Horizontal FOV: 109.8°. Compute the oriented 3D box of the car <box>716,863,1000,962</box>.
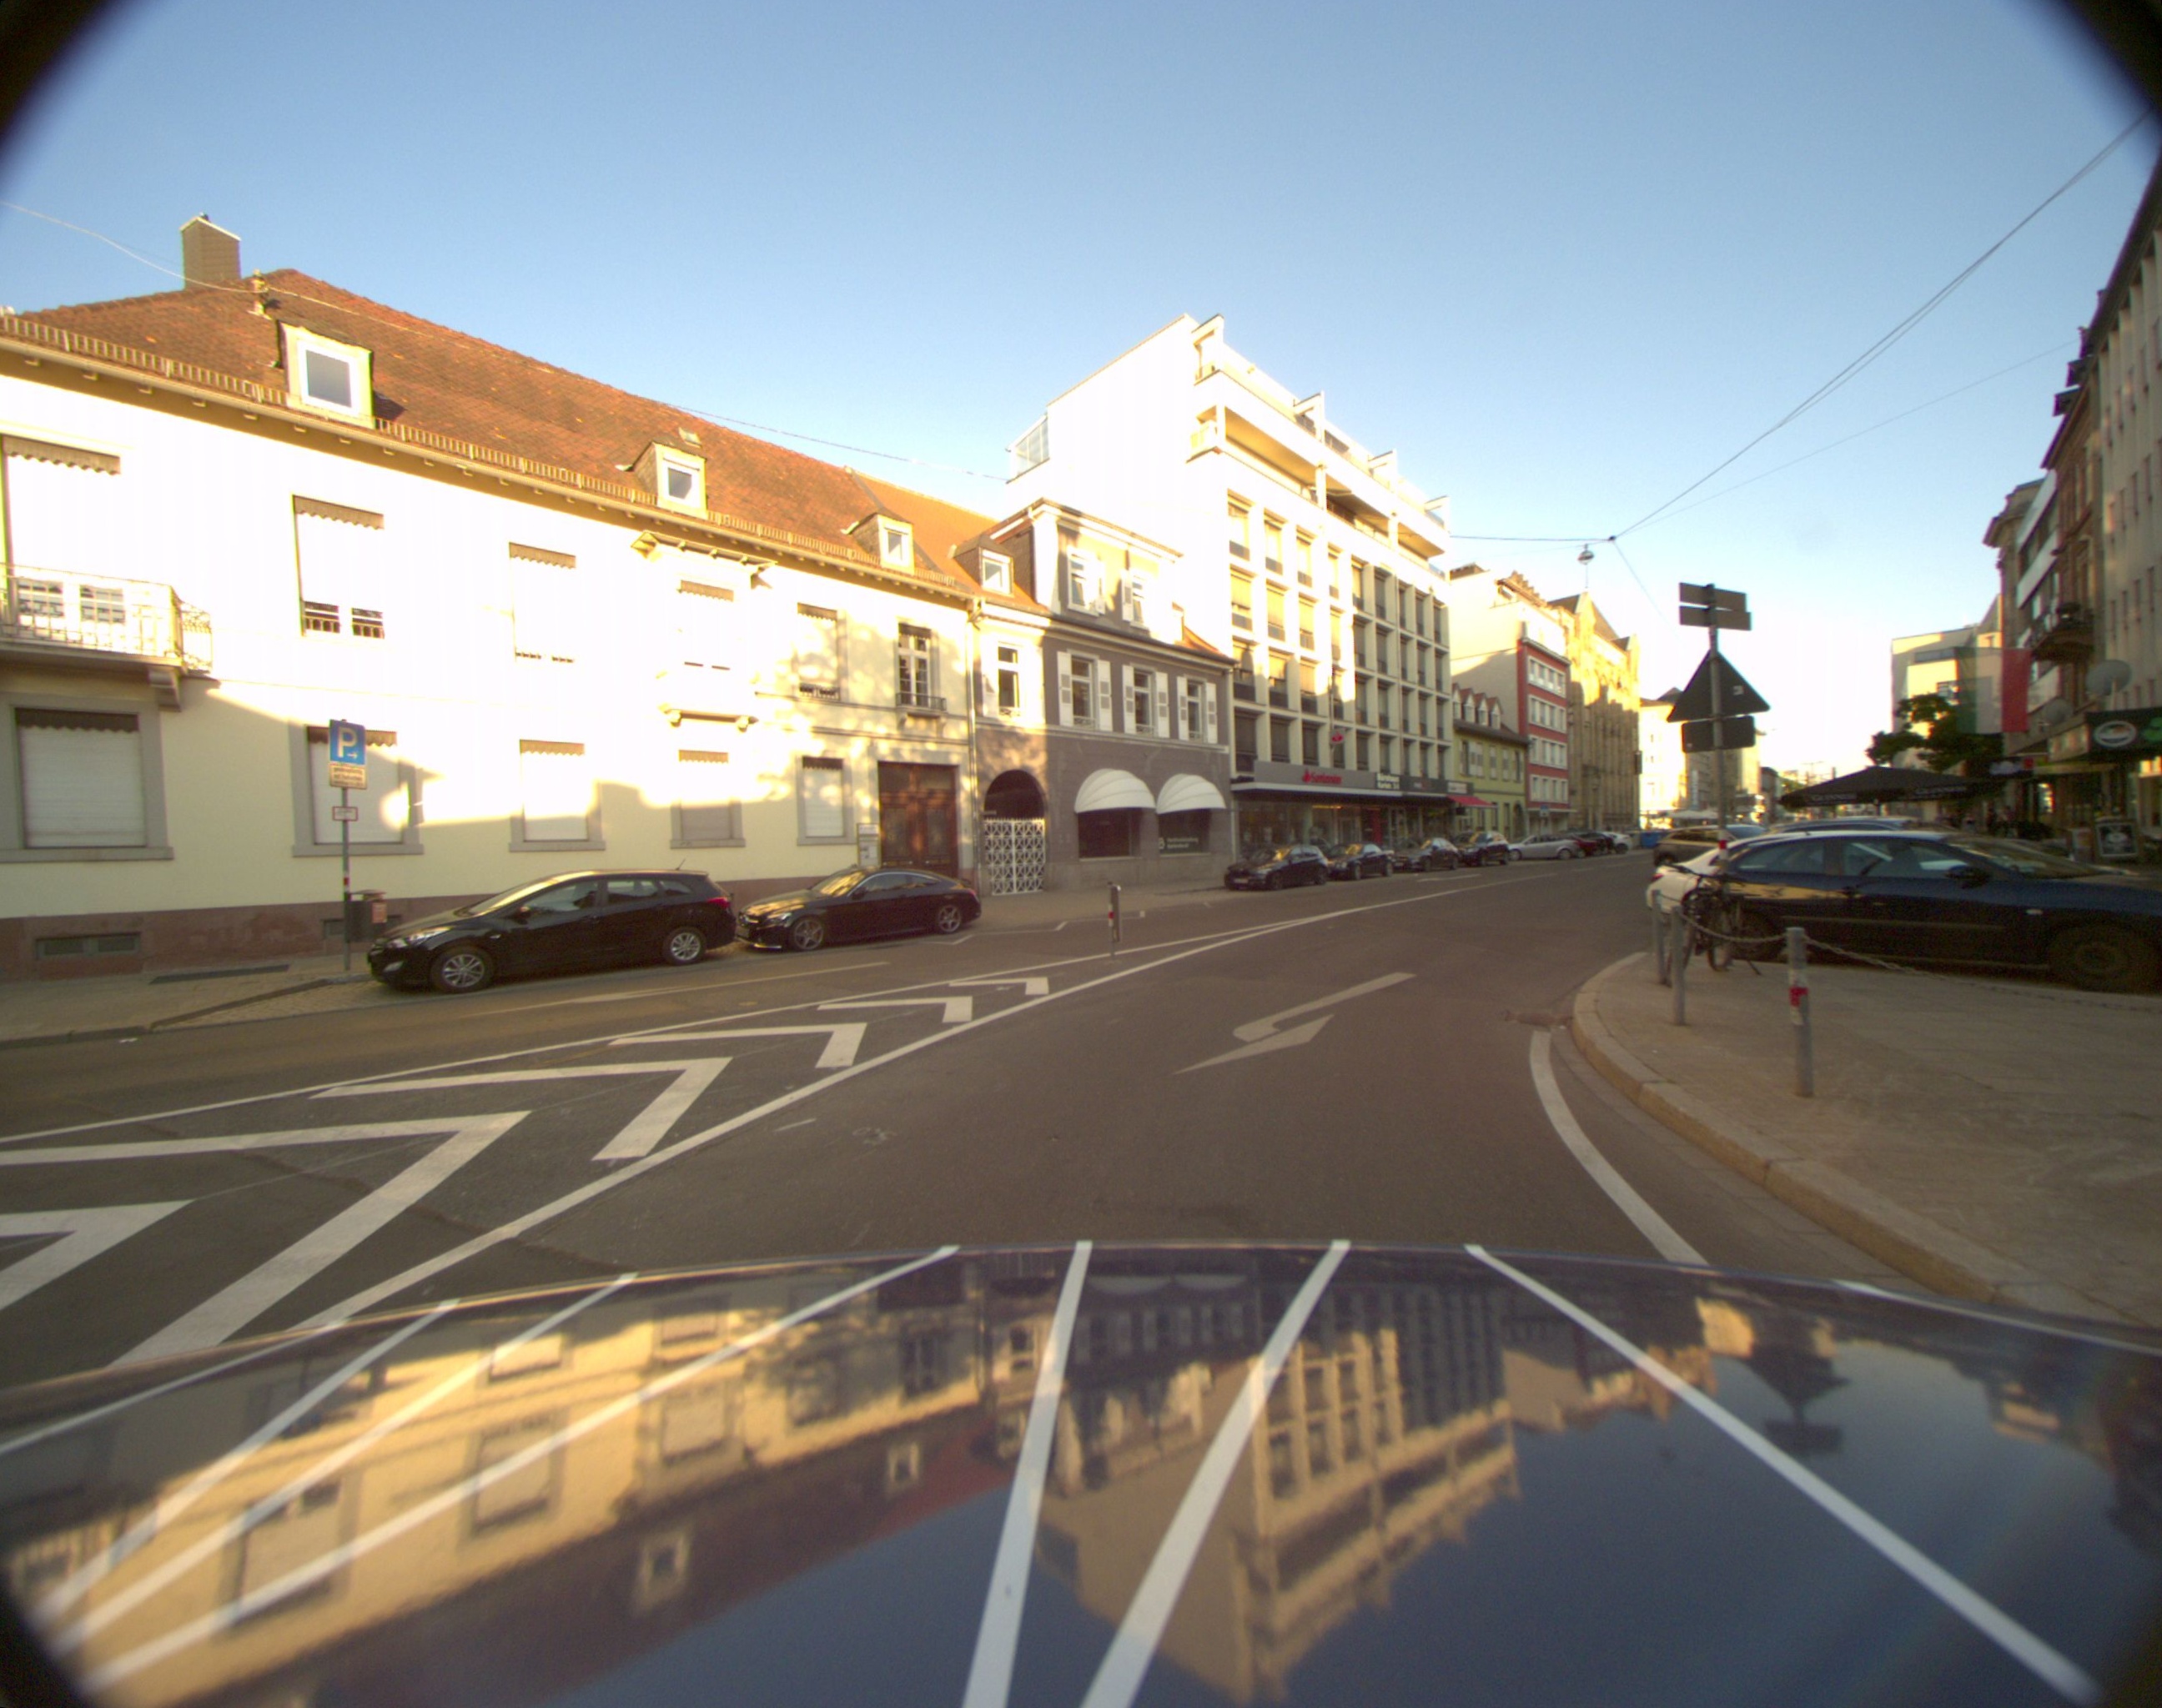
[{"bbox_3d":[-4.077,0.984,14.510,4.866,1.386,1.774,-3,1,-42],"label":"car"}]

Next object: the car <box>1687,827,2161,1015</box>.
[{"bbox_3d":[8.712,0.559,7.498,1.742,1.452,3.858,-3,-2,-20],"label":"car"}]

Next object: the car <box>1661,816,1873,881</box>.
[{"bbox_3d":[19.365,-0.098,21.678,1.855,1.619,4.045,-3,0,-23],"label":"car"}]

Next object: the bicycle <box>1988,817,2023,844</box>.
[{"bbox_3d":[40.712,-1.044,33.465,2.182,1.108,0.766,-3,1,-45],"label":"bicycle"}]

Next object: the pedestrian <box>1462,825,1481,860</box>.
[{"bbox_3d":[22.839,-0.669,44.447,0.761,2.055,0.720,-1,2,45],"label":"pedestrian"}]

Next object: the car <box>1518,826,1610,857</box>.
[{"bbox_3d":[28.437,-0.736,44.840,4.221,1.667,1.755,-2,1,12],"label":"car"}]

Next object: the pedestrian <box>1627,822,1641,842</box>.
[{"bbox_3d":[52.146,-2.064,71.633,1.014,1.789,0.848,-3,2,-39],"label":"pedestrian"}]

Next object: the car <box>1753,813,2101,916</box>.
[{"bbox_3d":[15.775,0.131,14.508,1.794,1.647,4.044,-2,1,-18],"label":"car"}]

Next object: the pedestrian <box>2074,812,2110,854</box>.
[{"bbox_3d":[30.910,-0.639,23.229,0.677,1.238,0.575,-3,2,-44],"label":"pedestrian"}]

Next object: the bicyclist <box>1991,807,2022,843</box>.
[{"bbox_3d":[40.717,-1.265,33.440,0.814,1.550,0.766,-2,0,-45],"label":"bicyclist"}]

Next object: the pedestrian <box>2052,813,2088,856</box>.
[{"bbox_3d":[29.388,-0.581,22.576,0.677,1.238,0.575,-3,2,-44],"label":"pedestrian"}]

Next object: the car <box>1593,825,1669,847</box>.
[{"bbox_3d":[41.096,-1.333,56.885,4.220,1.465,1.756,-2,1,16],"label":"car"}]

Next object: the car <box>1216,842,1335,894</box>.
[{"bbox_3d":[6.380,0.396,24.688,4.257,1.438,1.743,-3,1,-44],"label":"car"}]

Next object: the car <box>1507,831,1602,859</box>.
[{"bbox_3d":[26.676,-0.493,42.942,4.221,1.431,1.755,-2,1,12],"label":"car"}]

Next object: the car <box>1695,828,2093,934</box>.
[{"bbox_3d":[13.230,0.340,12.792,1.712,1.439,4.244,-2,1,-18],"label":"car"}]

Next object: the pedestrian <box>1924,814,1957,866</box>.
[{"bbox_3d":[23.727,-0.387,20.982,0.677,1.408,0.575,-3,2,-44],"label":"pedestrian"}]

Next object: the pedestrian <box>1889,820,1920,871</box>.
[{"bbox_3d":[23.197,-0.247,21.408,0.677,1.408,0.575,-3,2,-44],"label":"pedestrian"}]

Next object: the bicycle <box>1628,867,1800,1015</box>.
[{"bbox_3d":[5.880,0.739,7.026,1.806,1.119,0.726,-3,-1,-35],"label":"bicycle"}]

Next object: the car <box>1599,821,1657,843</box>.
[{"bbox_3d":[52.432,-2.110,72.957,4.218,1.871,1.756,-2,1,21],"label":"car"}]

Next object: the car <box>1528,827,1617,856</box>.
[{"bbox_3d":[30.188,-0.784,46.793,4.220,1.607,1.756,-2,1,16],"label":"car"}]

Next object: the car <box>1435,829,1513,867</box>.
[{"bbox_3d":[18.600,-0.303,35.858,4.371,1.649,1.828,-3,2,-42],"label":"car"}]

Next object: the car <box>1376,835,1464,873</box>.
[{"bbox_3d":[14.425,-0.014,32.229,4.567,1.438,1.743,-3,1,-43],"label":"car"}]

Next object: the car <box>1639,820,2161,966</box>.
[{"bbox_3d":[10.698,0.453,10.518,1.770,1.503,4.623,-3,-1,-16],"label":"car"}]

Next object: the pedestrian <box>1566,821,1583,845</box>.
[{"bbox_3d":[39.601,-1.685,60.917,1.014,1.933,0.848,-3,2,-39],"label":"pedestrian"}]

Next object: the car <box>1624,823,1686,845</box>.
[{"bbox_3d":[48.213,-1.682,63.936,3.828,1.743,1.756,-2,1,21],"label":"car"}]

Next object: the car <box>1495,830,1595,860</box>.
[{"bbox_3d":[24.783,-0.488,40.738,4.223,1.431,1.755,-2,1,7],"label":"car"}]

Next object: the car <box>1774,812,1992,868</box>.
[{"bbox_3d":[27.380,-0.448,26.218,1.909,1.723,4.834,-2,1,-17],"label":"car"}]

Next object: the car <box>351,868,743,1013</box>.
[{"bbox_3d":[-7.629,1.078,11.197,4.439,1.533,1.802,-3,1,-44],"label":"car"}]

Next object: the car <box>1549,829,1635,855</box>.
[{"bbox_3d":[32.563,-0.773,48.511,4.220,1.465,1.756,-2,1,16],"label":"car"}]

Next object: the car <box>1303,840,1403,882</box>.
[{"bbox_3d":[10.260,0.220,28.482,4.510,1.379,1.743,-3,1,-45],"label":"car"}]
